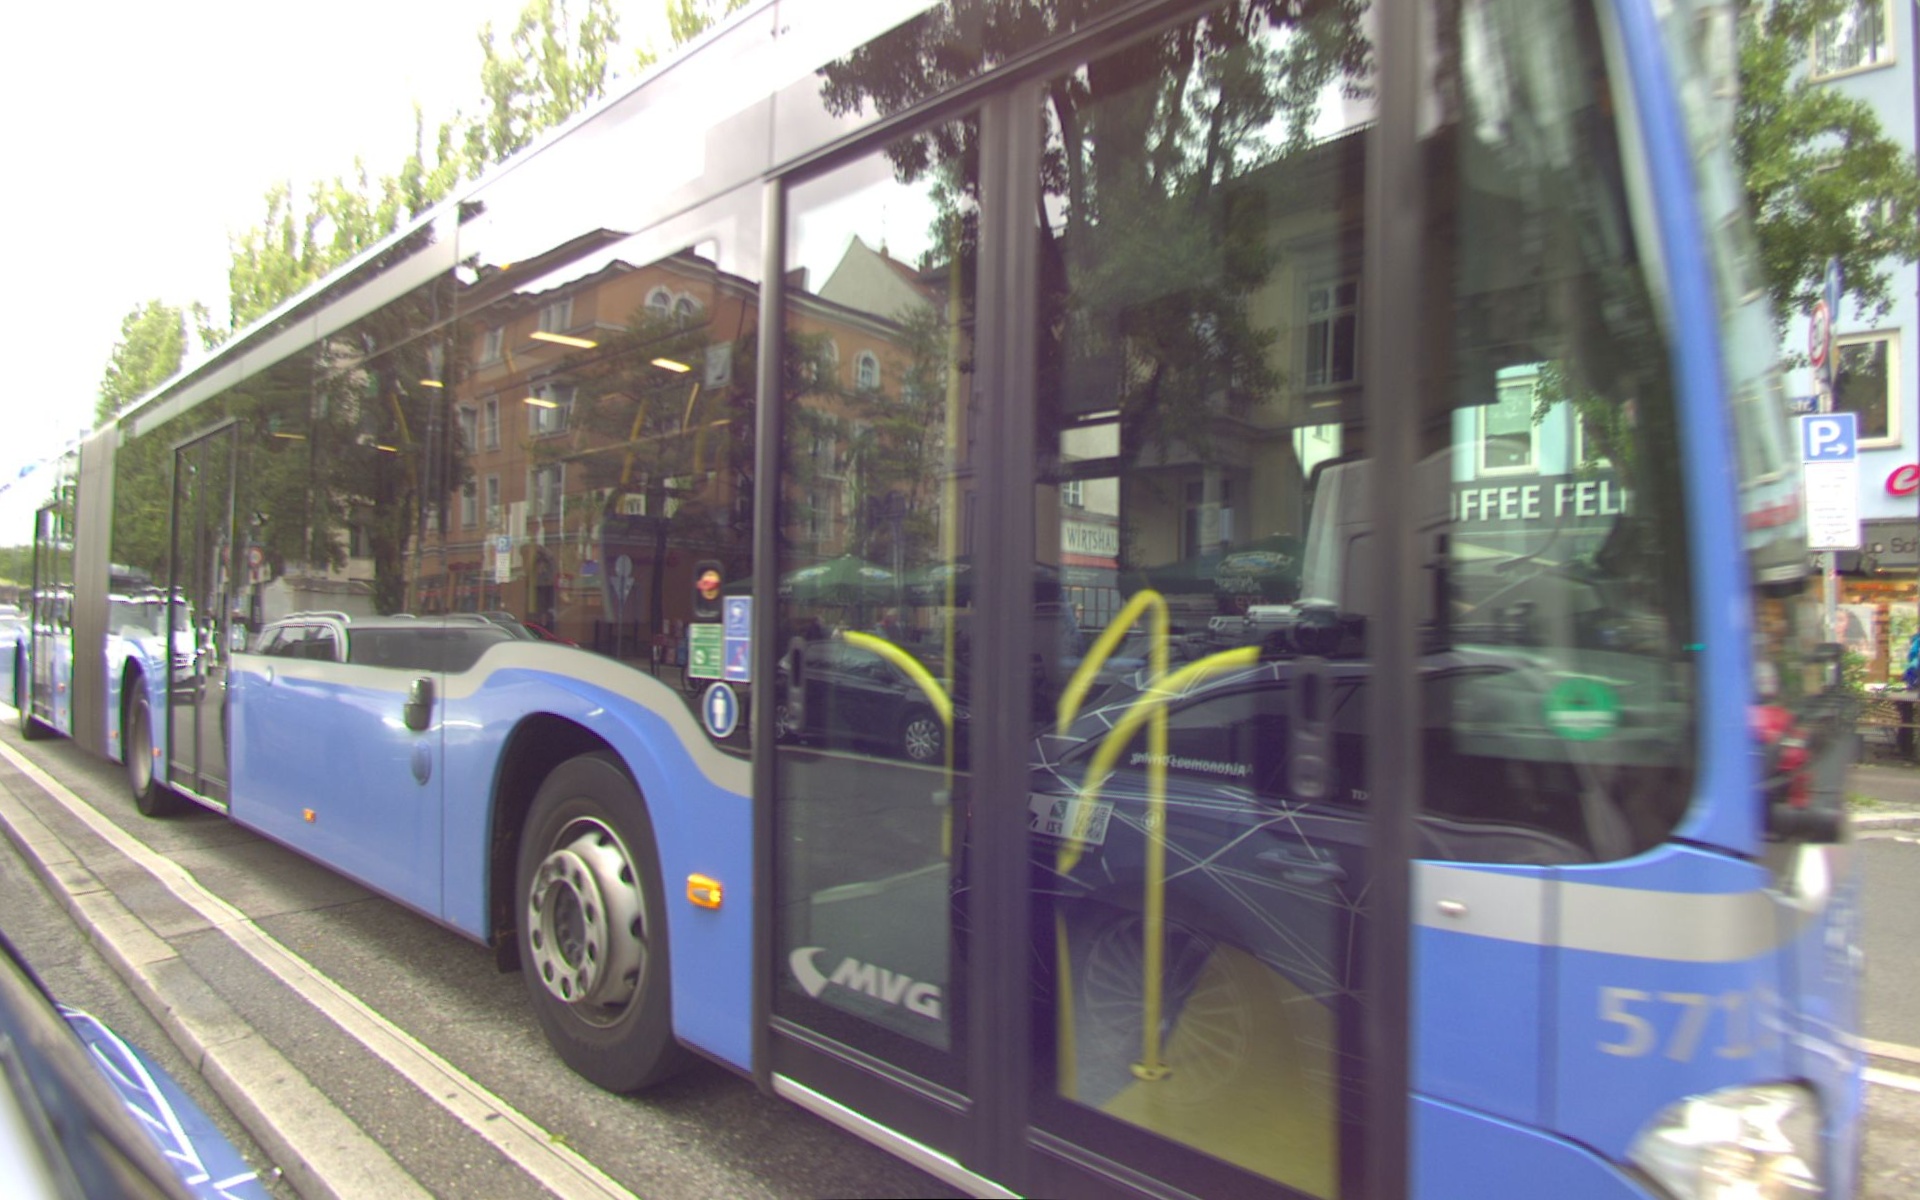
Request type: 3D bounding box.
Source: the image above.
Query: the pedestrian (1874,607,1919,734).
[{"bbox_3d":[12.806,0.931,13.447,0.950,1.659,0.690,-1,-2,44],"label":"pedestrian"}]

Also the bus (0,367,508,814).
[{"bbox_3d":[-8.571,0.010,11.031,10.047,2.972,2.655,-1,-2,41],"label":"bus"}]

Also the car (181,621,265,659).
[{"bbox_3d":[-29.834,1.606,40.899,4.572,1.451,1.778,-1,-3,42],"label":"car"}]

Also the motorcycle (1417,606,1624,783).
[{"bbox_3d":[5.534,0.860,10.208,0.704,1.575,2.348,0,-1,-2],"label":"motorcycle"}]

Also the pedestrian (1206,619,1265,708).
[{"bbox_3d":[5.546,1.264,20.372,0.950,1.735,0.690,-1,-2,44],"label":"pedestrian"}]

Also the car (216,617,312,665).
[{"bbox_3d":[-25.442,1.461,36.940,4.572,1.625,1.778,-1,-3,42],"label":"car"}]

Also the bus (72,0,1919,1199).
[{"bbox_3d":[-1.855,-0.105,5.166,10.047,2.972,2.661,-1,-2,41],"label":"bus"}]
